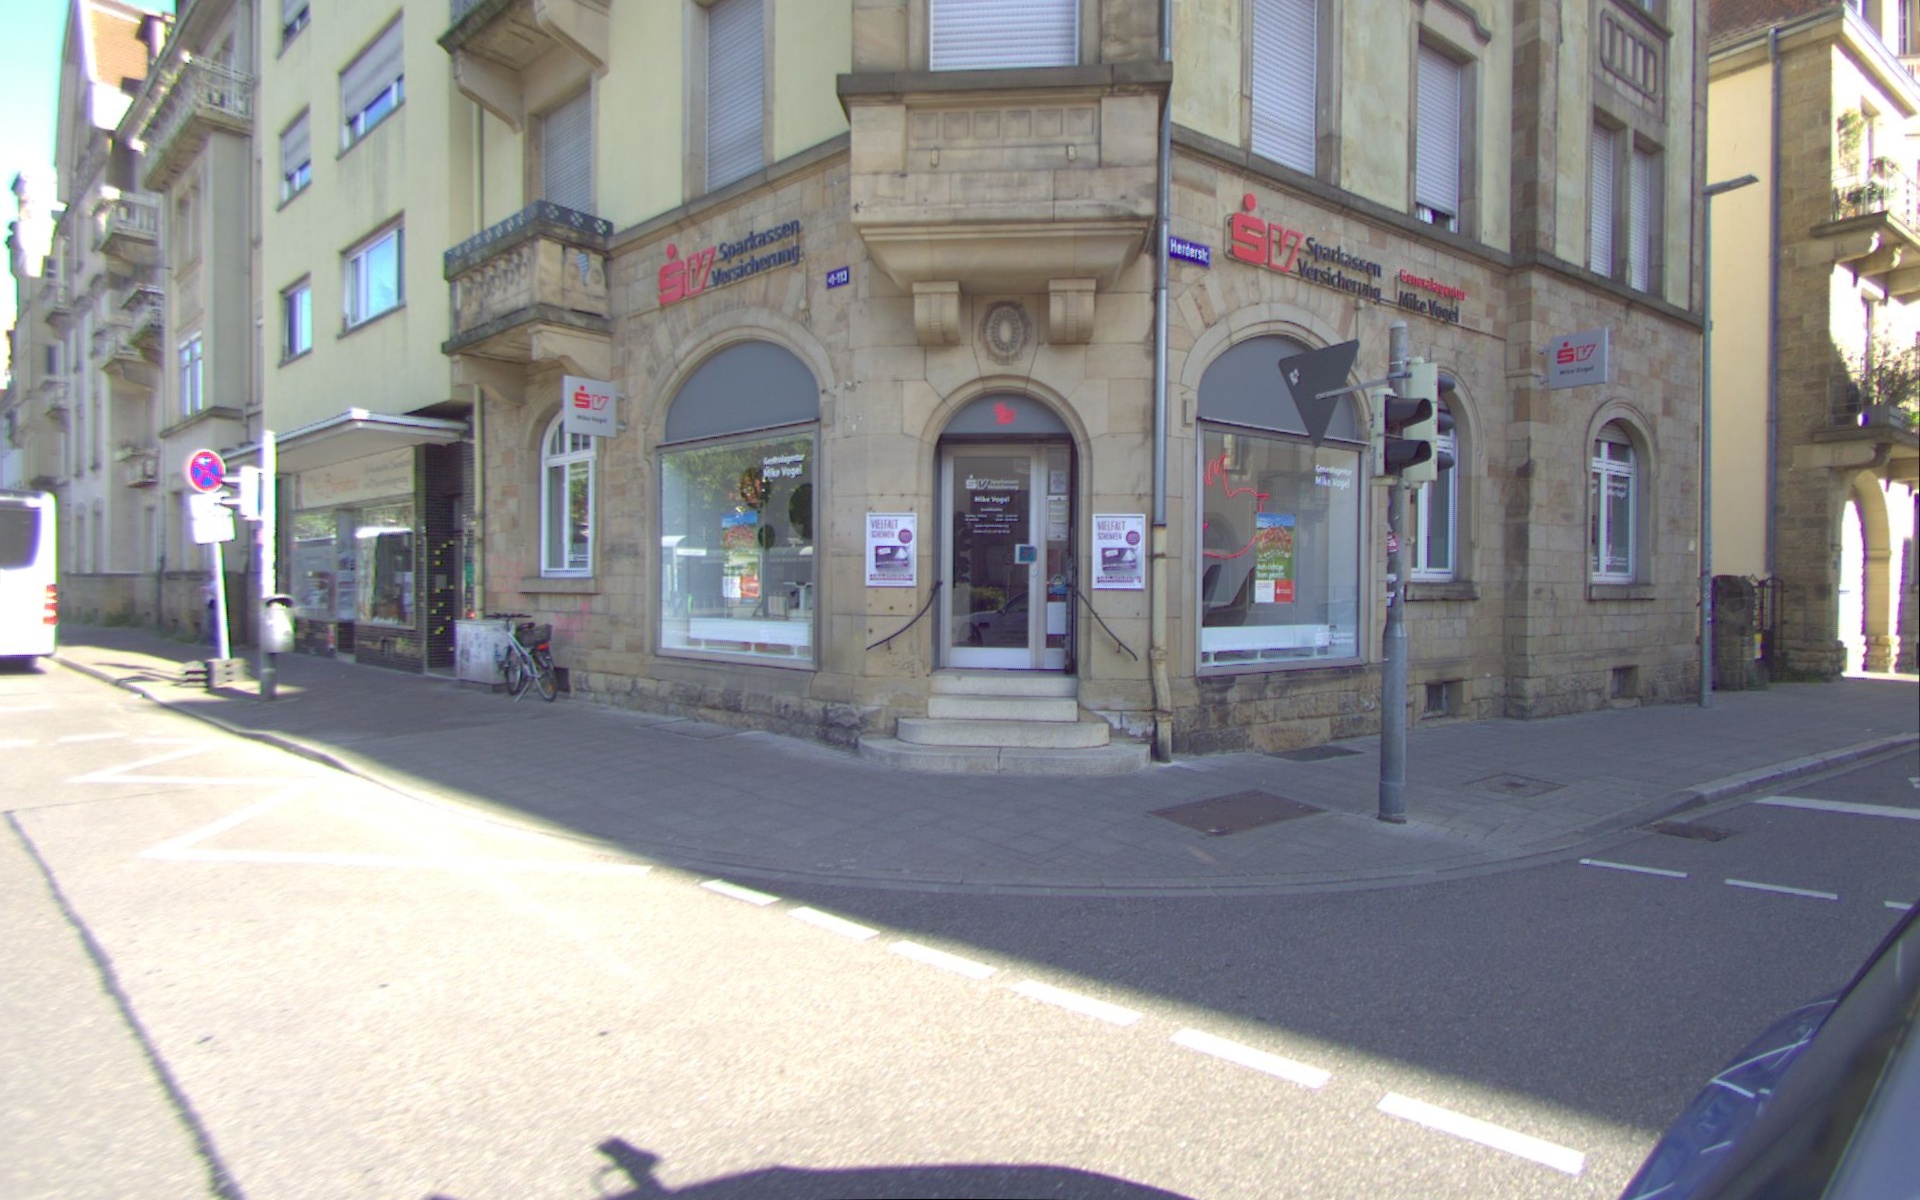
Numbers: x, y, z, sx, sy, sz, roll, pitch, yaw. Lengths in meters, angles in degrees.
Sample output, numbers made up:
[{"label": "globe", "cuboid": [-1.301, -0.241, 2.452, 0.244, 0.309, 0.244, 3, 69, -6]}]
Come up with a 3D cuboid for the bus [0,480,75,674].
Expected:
[{"label": "bus", "cuboid": [-19.355, -0.439, 19.300, 3.082, 3.072, 10.654, 1, 0, -45]}]

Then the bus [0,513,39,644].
[{"label": "bus", "cuboid": [-26.904, -0.585, 26.963, 3.044, 3.055, 10.835, 1, 0, -45]}]

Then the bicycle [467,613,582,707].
[{"label": "bicycle", "cuboid": [-5.281, 0.686, 12.210, 1.946, 0.987, 0.509, 1, 3, 43]}]

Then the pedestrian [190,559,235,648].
[{"label": "pedestrian", "cuboid": [-15.712, 0.063, 21.272, 0.697, 1.826, 0.520, 0, 0, -44]}]
